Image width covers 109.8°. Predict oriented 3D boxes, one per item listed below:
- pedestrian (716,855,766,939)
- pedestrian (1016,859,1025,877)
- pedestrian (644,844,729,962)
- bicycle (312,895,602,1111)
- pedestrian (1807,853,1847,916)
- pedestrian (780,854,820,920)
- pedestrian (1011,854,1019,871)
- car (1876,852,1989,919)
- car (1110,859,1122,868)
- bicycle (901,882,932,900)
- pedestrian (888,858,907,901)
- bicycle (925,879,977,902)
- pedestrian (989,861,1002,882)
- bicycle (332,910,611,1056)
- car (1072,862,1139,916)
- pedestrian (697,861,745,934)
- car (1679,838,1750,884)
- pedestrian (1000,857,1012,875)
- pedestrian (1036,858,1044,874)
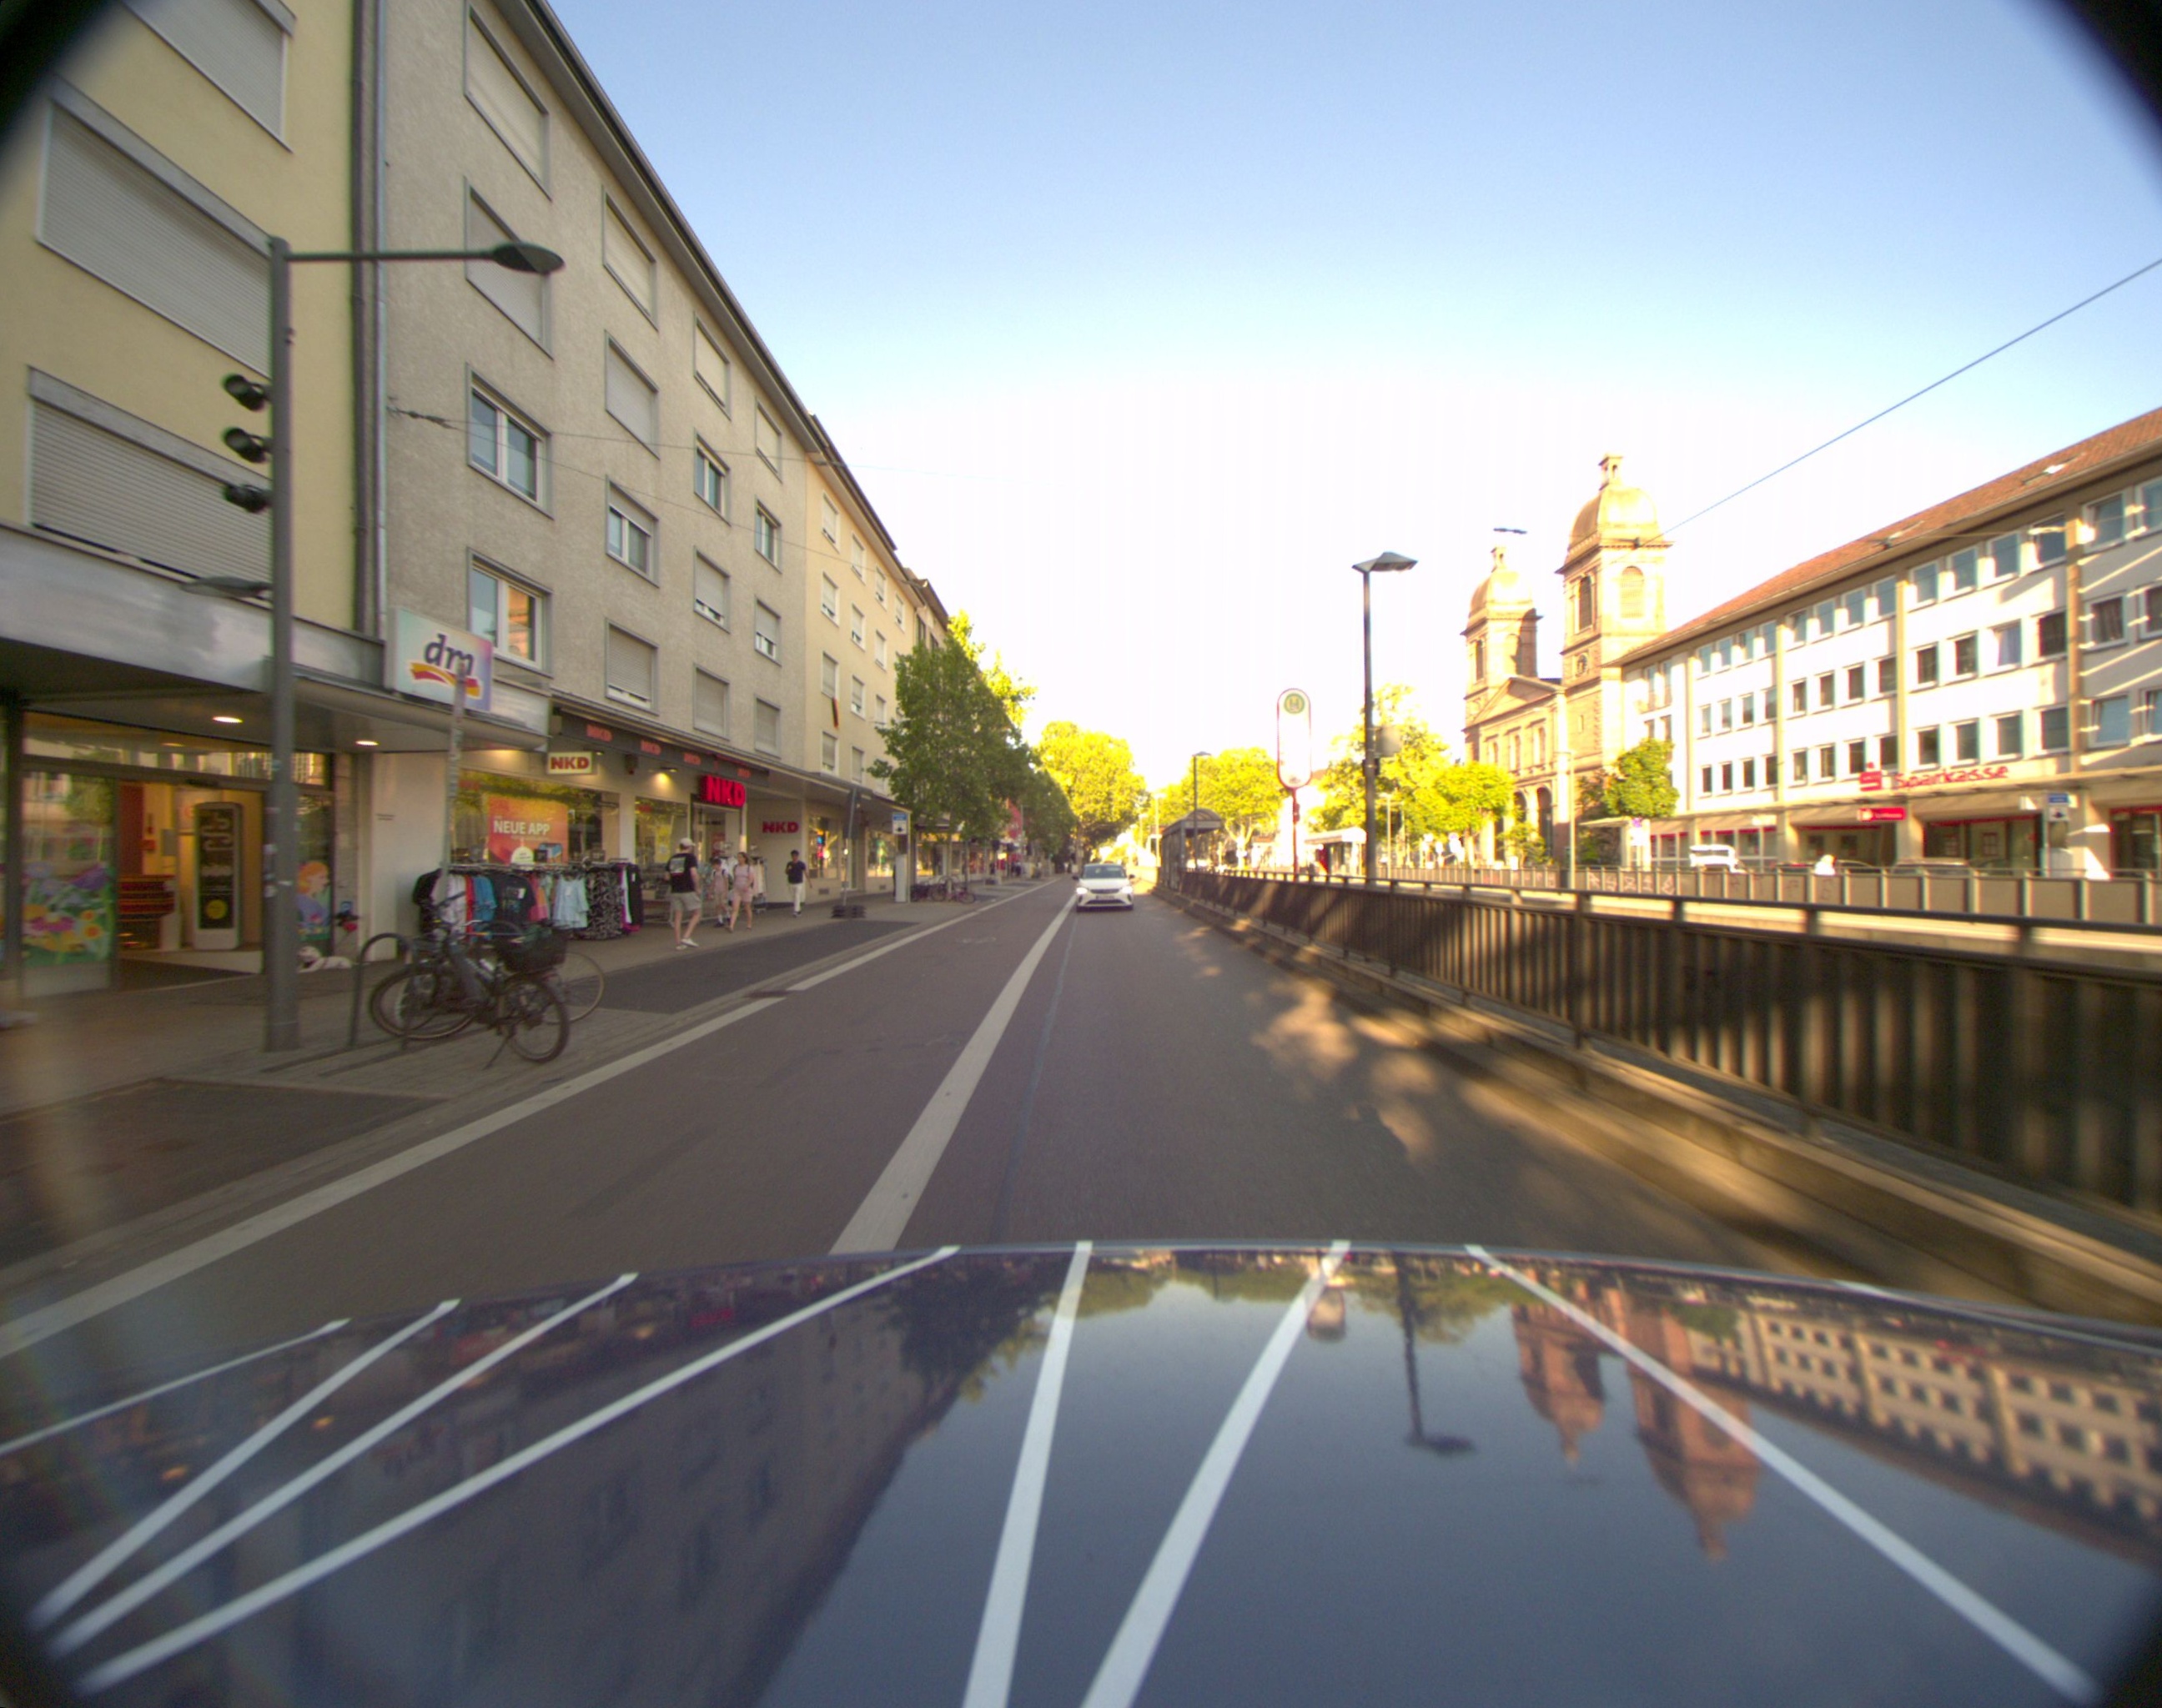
[{"bbox_3d":[-6.849,0.847,15.337,0.547,1.619,0.896,1,0,1],"label":"pedestrian"},{"bbox_3d":[-5.495,1.259,68.758,0.693,1.665,0.659,2,0,1],"label":"pedestrian"},{"bbox_3d":[-6.289,0.760,12.163,0.775,1.789,0.931,3,0,2],"label":"pedestrian"},{"bbox_3d":[-4.787,1.076,5.859,1.789,1.304,0.694,6,1,12],"label":"bicycle"},{"bbox_3d":[21.649,0.876,22.049,0.726,1.777,0.766,-3,1,-42],"label":"pedestrian"},{"bbox_3d":[-7.301,0.838,19.793,0.569,1.665,1.070,2,0,1],"label":"pedestrian"},{"bbox_3d":[-6.528,0.860,75.491,0.634,1.645,0.651,-2,1,1],"label":"pedestrian"},{"bbox_3d":[23.093,0.804,20.751,4.007,1.521,1.865,-3,1,-44],"label":"car"},{"bbox_3d":[6.381,1.750,138.753,1.719,1.390,3.998,-2,0,-3],"label":"car"},{"bbox_3d":[-5.940,1.312,27.357,0.840,0.569,1.758,0,-1,-21],"label":"bicycle"},{"bbox_3d":[-6.826,0.947,28.319,0.490,1.558,0.648,2,0,2],"label":"pedestrian"},{"bbox_3d":[-4.670,1.299,27.314,1.763,0.773,0.702,0,0,-21],"label":"bicycle"},{"bbox_3d":[-6.910,1.435,61.443,0.851,1.645,0.916,-2,1,1],"label":"pedestrian"},{"bbox_3d":[-5.352,1.126,6.829,1.796,1.118,0.662,4,0,-26],"label":"bicycle"},{"bbox_3d":[0.743,1.009,23.156,1.826,1.433,3.828,-2,0,1],"label":"car"},{"bbox_3d":[-7.598,0.894,16.058,0.542,1.493,0.896,1,0,1],"label":"pedestrian"},{"bbox_3d":[23.467,0.231,28.100,1.739,1.477,4.008,-2,1,44],"label":"car"},{"bbox_3d":[-6.836,1.103,69.337,0.851,1.645,0.916,-2,1,1],"label":"pedestrian"},{"bbox_3d":[-4.196,1.242,77.712,0.634,1.645,0.651,-2,1,1],"label":"pedestrian"}]
